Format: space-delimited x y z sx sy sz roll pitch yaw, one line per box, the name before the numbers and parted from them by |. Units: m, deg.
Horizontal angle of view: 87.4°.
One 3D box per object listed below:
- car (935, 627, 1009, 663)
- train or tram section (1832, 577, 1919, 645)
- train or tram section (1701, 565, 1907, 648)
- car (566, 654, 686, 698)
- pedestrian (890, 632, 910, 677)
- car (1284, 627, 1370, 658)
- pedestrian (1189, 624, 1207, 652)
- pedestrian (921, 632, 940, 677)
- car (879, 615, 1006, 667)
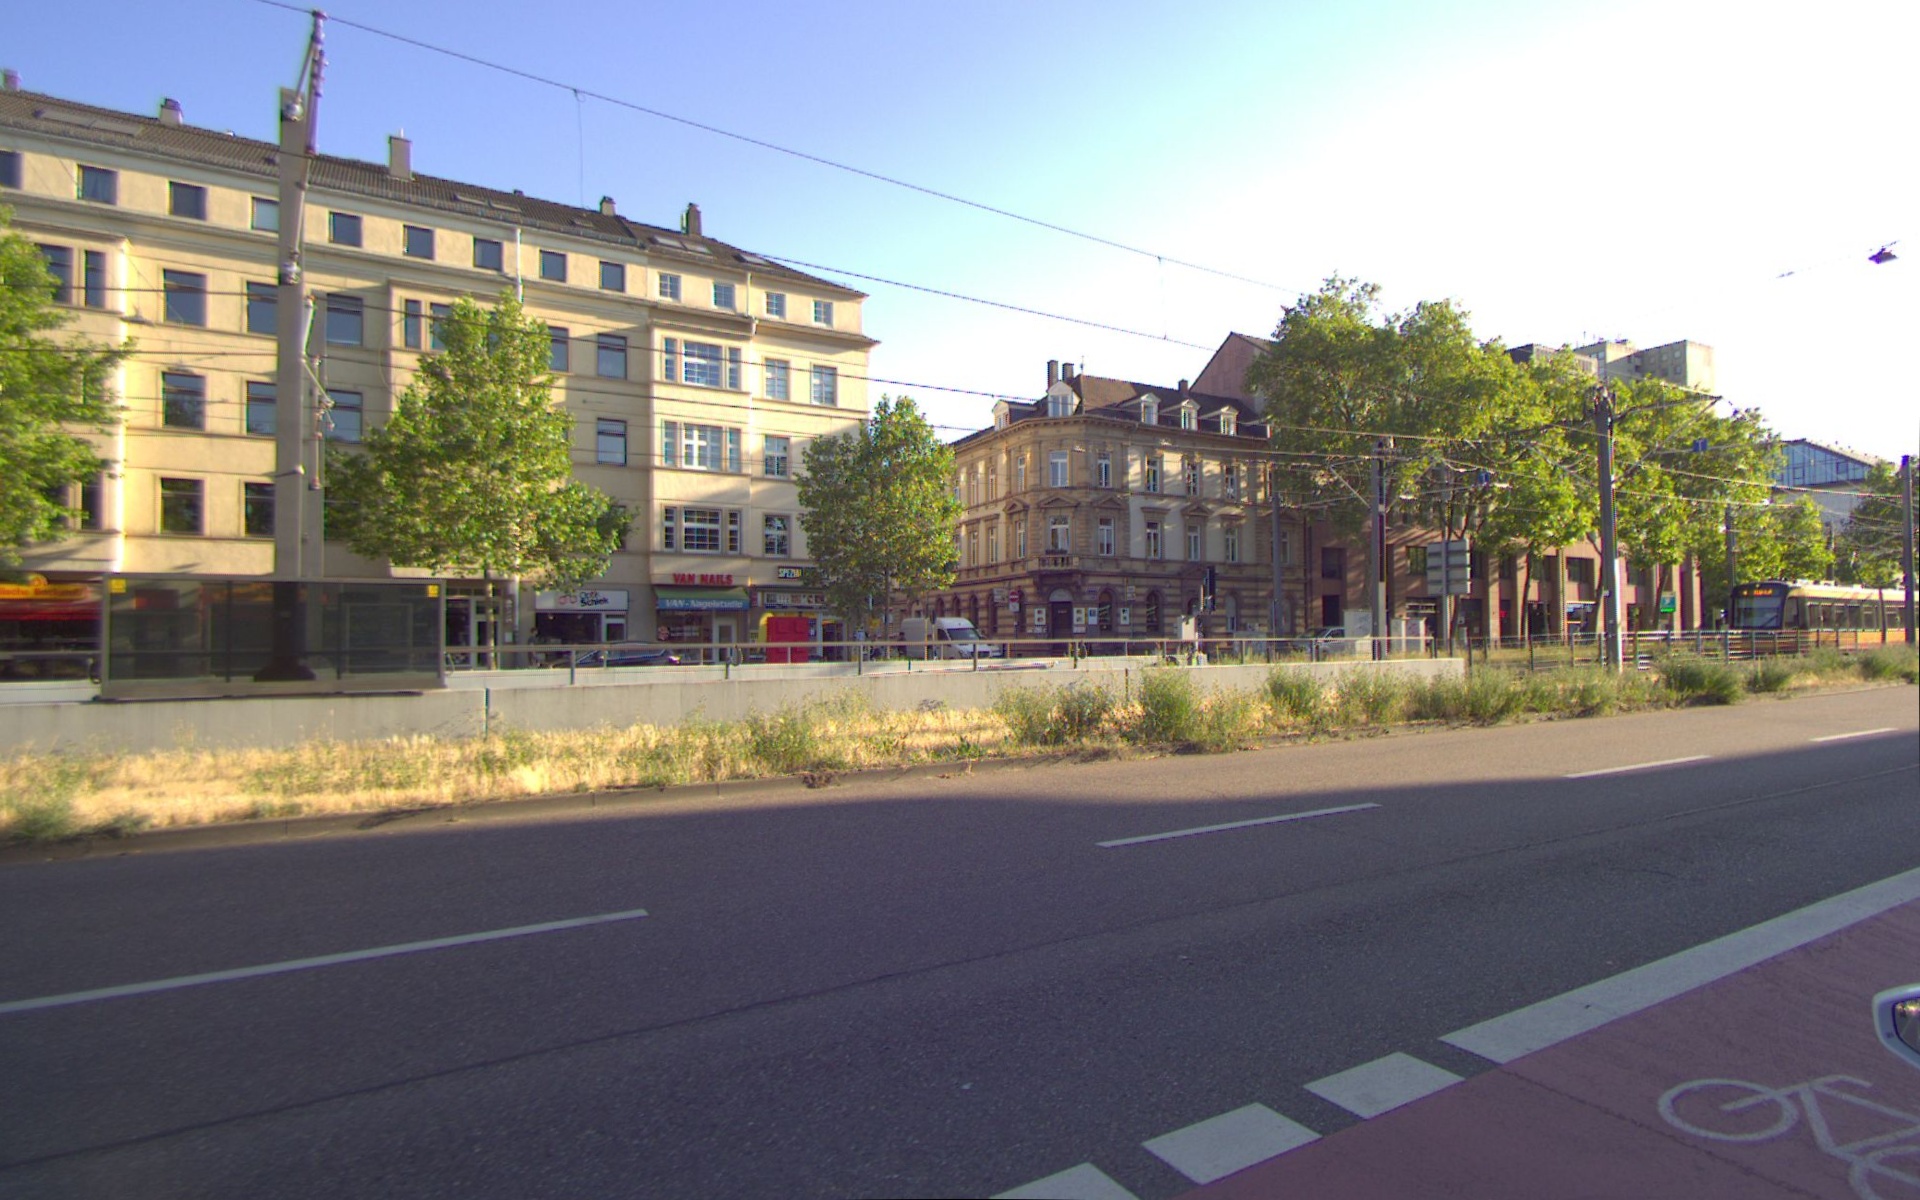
car | 0.613 2.477 55.748 1.964 1.912 4.659 1 -3 -31
train or tram section | 57.709 0.823 60.382 19.729 3.605 3.093 1 -3 -35
train or tram section | 42.381 0.494 50.014 17.293 3.605 3.094 1 -3 -34
car | -11.385 2.549 34.254 3.666 1.350 1.447 2 -1 -30
pedestrian | -2.605 2.375 43.846 0.626 1.944 0.580 1 0 -34
car | 19.516 2.238 53.387 4.680 1.605 1.752 1 -3 -31
pedestrian | 13.766 2.204 58.134 0.683 1.583 0.700 1 -2 -33
pedestrian | -1.317 2.408 44.143 0.579 1.944 0.628 1 0 -29
car | -0.986 1.956 48.134 2.446 2.296 7.220 1 -3 -35
